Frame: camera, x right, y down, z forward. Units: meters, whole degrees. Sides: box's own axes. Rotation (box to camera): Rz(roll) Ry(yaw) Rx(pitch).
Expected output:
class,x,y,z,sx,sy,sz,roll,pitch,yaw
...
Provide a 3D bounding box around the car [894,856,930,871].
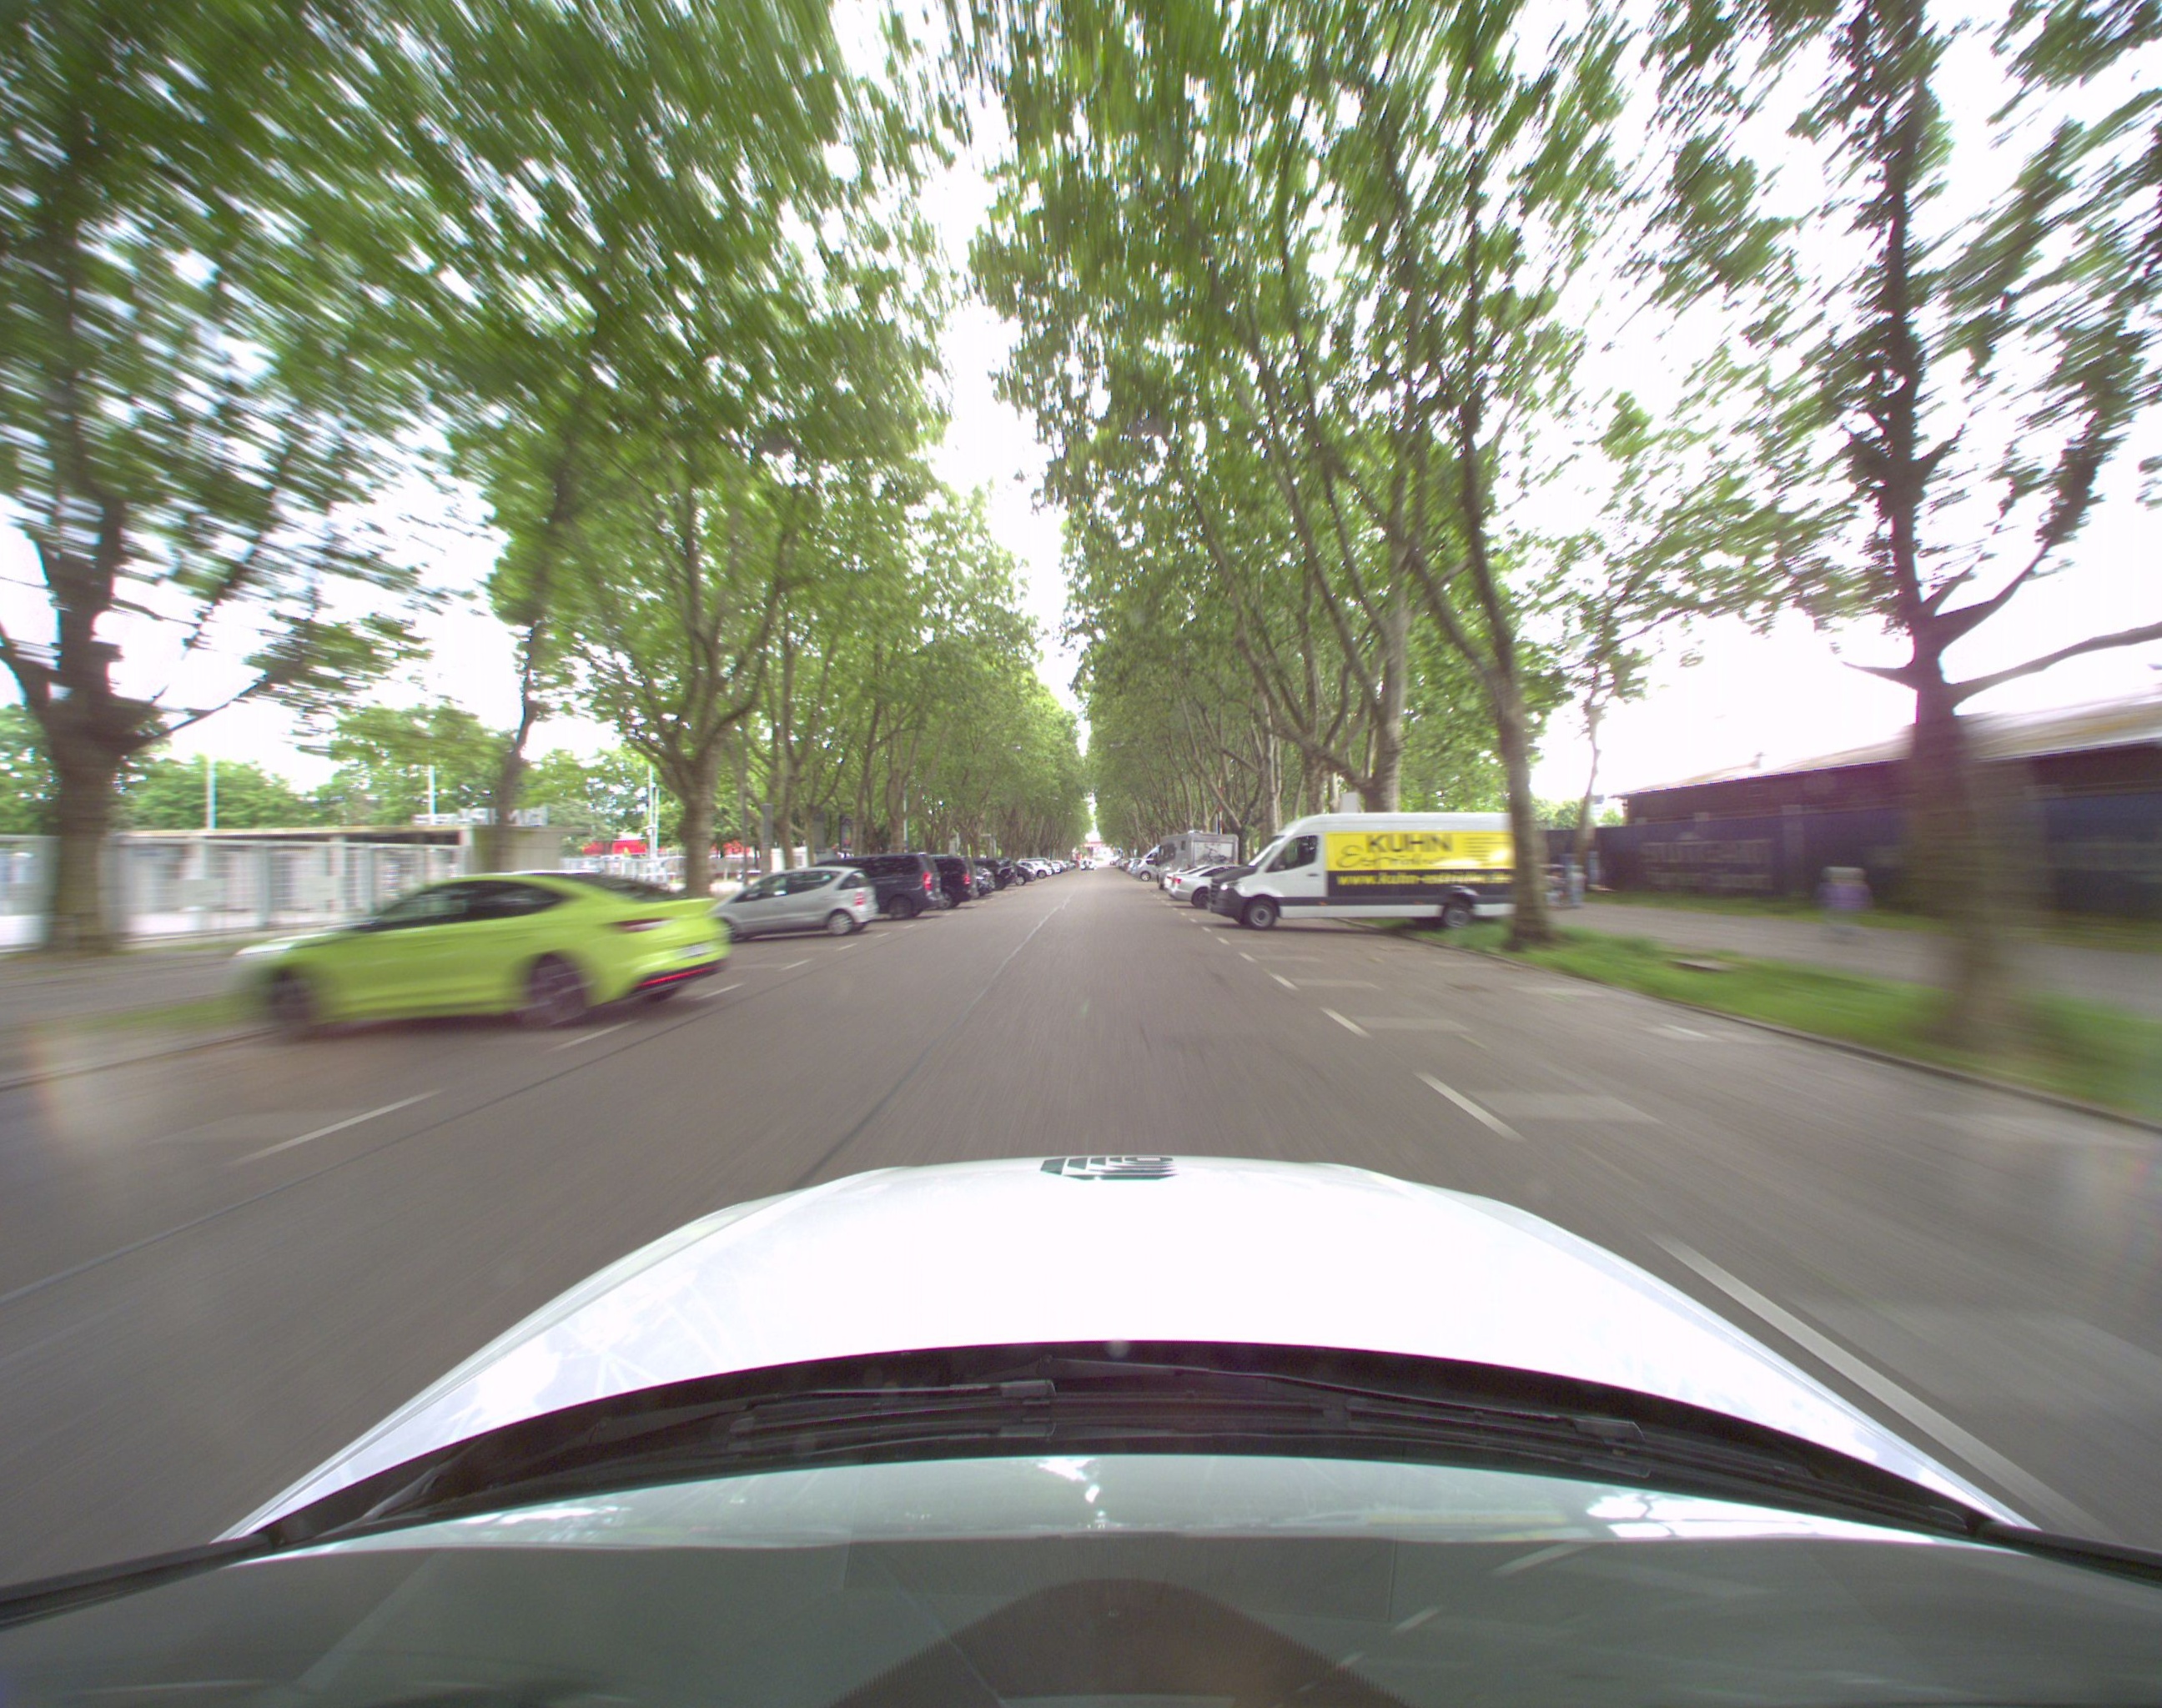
class,x,y,z,sx,sy,sz,roll,pitch,yaw
car,-30.250,1.715,146.014,5.981,2.527,2.000,0,-1,0

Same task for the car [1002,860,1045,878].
class,x,y,z,sx,sy,sz,roll,pitch,yaw
car,-6.047,1.579,85.614,4.327,1.667,1.999,-4,-1,-1

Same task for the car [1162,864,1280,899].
class,x,y,z,sx,sy,sz,roll,pitch,yaw
car,5.348,1.034,31.447,4.304,1.302,1.700,0,-1,1

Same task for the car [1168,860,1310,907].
class,x,y,z,sx,sy,sz,roll,pitch,yaw
car,5.000,0.921,26.168,4.338,1.445,1.614,0,-1,5

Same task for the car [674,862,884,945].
class,x,y,z,sx,sy,sz,roll,pitch,yaw
car,-6.803,1.089,18.692,4.096,1.568,1.756,-3,0,-4

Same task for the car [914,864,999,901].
class,x,y,z,sx,sy,sz,roll,pitch,yaw
car,-5.970,1.359,38.938,3.900,1.494,1.747,-3,-1,-12

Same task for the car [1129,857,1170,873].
class,x,y,z,sx,sy,sz,roll,pitch,yaw
car,7.563,1.189,89.955,4.371,1.755,1.800,0,-1,-1

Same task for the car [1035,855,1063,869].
class,x,y,z,sx,sy,sz,roll,pitch,yaw
car,-4.386,1.107,112.371,3.817,1.627,1.951,-3,-1,-2

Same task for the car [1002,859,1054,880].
class,x,y,z,sx,sy,sz,roll,pitch,yaw
car,-4.640,1.361,72.129,4.366,1.597,1.999,-3,-1,-1

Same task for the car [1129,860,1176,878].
class,x,y,z,sx,sy,sz,roll,pitch,yaw
car,6.326,1.321,72.638,4.102,1.429,1.704,2,-1,3

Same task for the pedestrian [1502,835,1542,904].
class,x,y,z,sx,sy,sz,roll,pitch,yaw
pedestrian,11.452,0.398,21.150,0.636,1.741,0.621,-3,0,4

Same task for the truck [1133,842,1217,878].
class,x,y,z,sx,sy,sz,roll,pitch,yaw
truck,7.143,0.457,62.319,6.266,2.715,2.100,0,-1,4

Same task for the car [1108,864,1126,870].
class,x,y,z,sx,sy,sz,roll,pitch,yaw
car,8.668,3.159,196.463,4.154,1.442,1.734,-1,-1,6

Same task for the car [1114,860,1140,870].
class,x,y,z,sx,sy,sz,roll,pitch,yaw
car,7.731,1.874,136.243,4.156,1.596,1.853,0,-1,-3

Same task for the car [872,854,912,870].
class,x,y,z,sx,sy,sz,roll,pitch,yaw
car,-31.129,1.333,134.346,5.981,2.527,2.000,0,-1,0

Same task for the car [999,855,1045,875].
class,x,y,z,sx,sy,sz,roll,pitch,yaw
car,-5.754,1.112,79.953,4.327,1.667,1.999,-4,-1,-1

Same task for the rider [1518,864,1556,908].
class,x,y,z,sx,sy,sz,roll,pitch,yaw
rider,11.555,0.808,20.645,0.589,1.048,0.589,-3,0,4

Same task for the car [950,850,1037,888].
class,x,y,z,sx,sy,sz,roll,pitch,yaw
car,-5.736,0.971,53.733,5.419,2.128,1.939,-3,0,-1

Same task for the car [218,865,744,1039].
class,x,y,z,sx,sy,sz,roll,pitch,yaw
car,-6.327,0.989,8.916,4.497,1.618,1.759,-1,-1,3

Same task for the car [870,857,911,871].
class,x,y,z,sx,sy,sz,roll,pitch,yaw
car,-30.183,1.606,128.907,5.981,2.252,2.000,0,-1,0

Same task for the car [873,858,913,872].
class,x,y,z,sx,sy,sz,roll,pitch,yaw
car,-30.406,1.800,131.711,5.981,2.318,2.000,0,-1,0

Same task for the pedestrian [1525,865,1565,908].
class,x,y,z,sx,sy,sz,roll,pitch,yaw
pedestrian,11.563,0.808,20.315,0.637,1.059,0.676,0,-1,2

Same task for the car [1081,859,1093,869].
class,x,y,z,sx,sy,sz,roll,pitch,yaw
car,0.892,1.494,122.332,1.650,1.364,4.108,-4,-1,-2

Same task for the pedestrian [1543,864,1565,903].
class,x,y,z,sx,sy,sz,roll,pitch,yaw
pedestrian,12.773,0.785,21.990,0.421,1.035,0.392,1,-1,-39

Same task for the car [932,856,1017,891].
class,x,y,z,sx,sy,sz,roll,pitch,yaw
car,-6.019,1.104,46.191,4.649,1.820,1.801,-1,-2,-7

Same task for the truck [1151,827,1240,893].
class,x,y,z,sx,sy,sz,roll,pitch,yaw
truck,5.415,0.295,39.896,2.456,2.938,7.519,0,-1,-7

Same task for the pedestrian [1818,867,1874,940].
class,x,y,z,sx,sy,sz,roll,pitch,yaw
pedestrian,11.692,0.746,12.450,0.393,1.084,0.419,-3,-1,5

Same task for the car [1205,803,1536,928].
class,x,y,z,sx,sy,sz,roll,pitch,yaw
car,6.388,0.264,18.652,6.853,2.695,2.129,0,-1,2

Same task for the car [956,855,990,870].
class,x,y,z,sx,sy,sz,roll,pitch,yaw
car,-19.368,1.493,146.301,5.764,2.597,2.001,0,-1,1

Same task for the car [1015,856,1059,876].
class,x,y,z,sx,sy,sz,roll,pitch,yaw
car,-5.137,1.428,95.123,4.877,2.019,1.919,-3,-1,0

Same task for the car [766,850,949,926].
class,x,y,z,sx,sy,sz,roll,pitch,yaw
car,-6.374,0.947,23.701,4.752,1.924,2.015,-2,-1,-4

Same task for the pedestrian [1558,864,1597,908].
class,x,y,z,sx,sy,sz,roll,pitch,yaw
pedestrian,12.393,0.800,20.324,0.589,1.048,0.589,-3,0,4

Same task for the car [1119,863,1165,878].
class,x,y,z,sx,sy,sz,roll,pitch,yaw
car,6.189,1.660,82.883,4.488,1.526,1.702,0,-1,-1

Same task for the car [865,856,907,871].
class,x,y,z,sx,sy,sz,roll,pitch,yaw
car,-30.128,1.524,126.116,5.981,2.252,2.000,0,-1,0

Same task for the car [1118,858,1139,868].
class,x,y,z,sx,sy,sz,roll,pitch,yaw
car,8.279,1.605,142.713,3.636,1.667,1.518,0,-1,-3

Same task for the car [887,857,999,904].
class,x,y,z,sx,sy,sz,roll,pitch,yaw
car,-6.138,1.184,36.469,4.560,1.781,1.799,-3,0,2

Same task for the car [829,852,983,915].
class,x,y,z,sx,sy,sz,roll,pitch,yaw
car,-6.122,1.020,28.956,4.887,1.924,2.209,-2,0,2

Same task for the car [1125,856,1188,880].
class,x,y,z,sx,sy,sz,roll,pitch,yaw
car,5.335,0.997,57.530,4.321,1.618,1.805,1,-1,4
